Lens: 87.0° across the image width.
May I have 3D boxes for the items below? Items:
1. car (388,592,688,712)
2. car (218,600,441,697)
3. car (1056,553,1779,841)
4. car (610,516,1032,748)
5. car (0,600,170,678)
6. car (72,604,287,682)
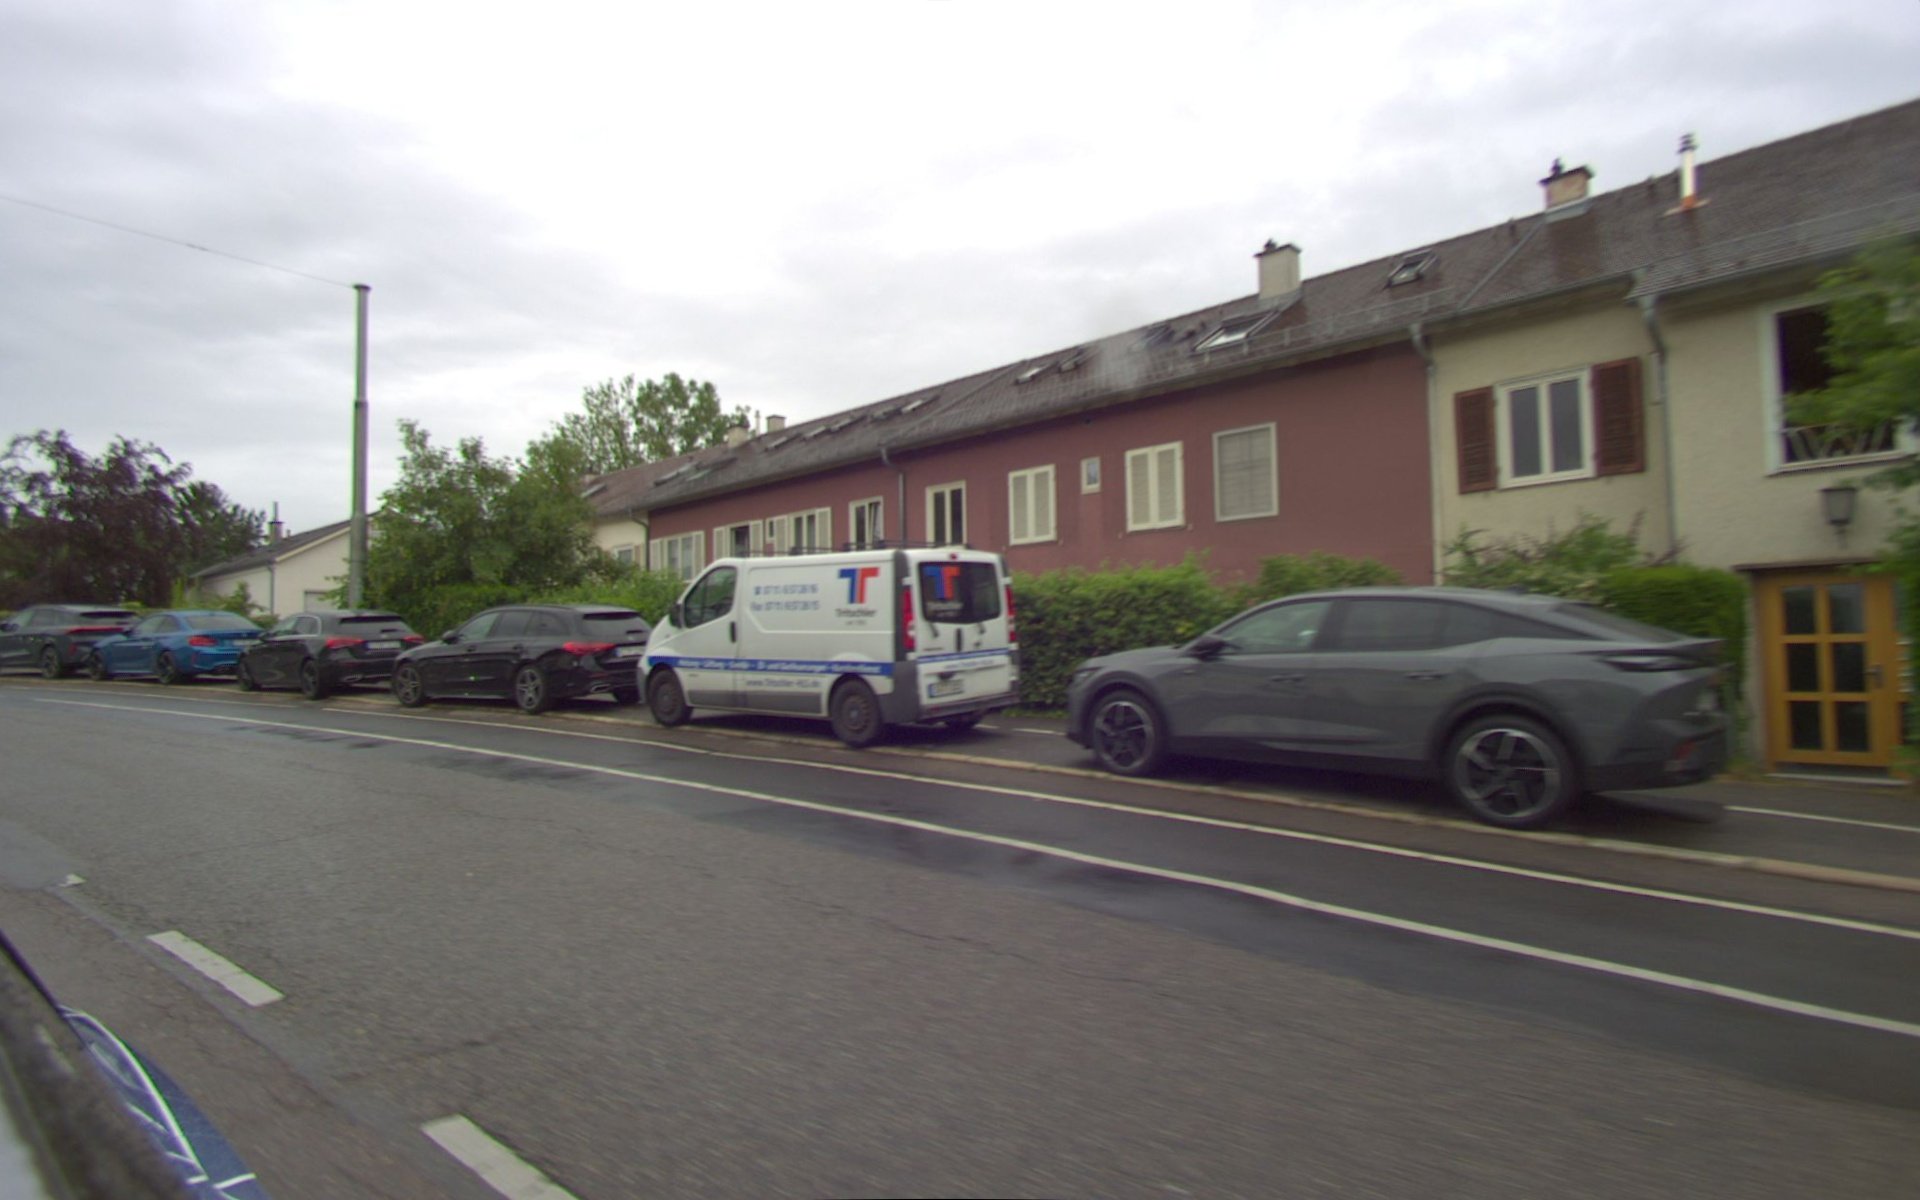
[{"bbox_3d":[-6.132,0.650,14.526,4.509,1.488,1.793,0,0,34],"label":"car"},{"bbox_3d":[-11.129,0.763,17.765,4.513,1.488,1.792,0,0,36],"label":"car"},{"bbox_3d":[3.047,0.509,7.449,4.523,1.488,1.788,0,0,43],"label":"car"},{"bbox_3d":[-1.760,0.297,11.468,5.016,2.094,1.830,0,0,40],"label":"car"},{"bbox_3d":[-20.231,0.834,22.804,4.358,1.589,1.914,-1,0,22],"label":"car"},{"bbox_3d":[-15.816,0.841,20.470,4.450,1.415,1.689,-1,0,27],"label":"car"}]
